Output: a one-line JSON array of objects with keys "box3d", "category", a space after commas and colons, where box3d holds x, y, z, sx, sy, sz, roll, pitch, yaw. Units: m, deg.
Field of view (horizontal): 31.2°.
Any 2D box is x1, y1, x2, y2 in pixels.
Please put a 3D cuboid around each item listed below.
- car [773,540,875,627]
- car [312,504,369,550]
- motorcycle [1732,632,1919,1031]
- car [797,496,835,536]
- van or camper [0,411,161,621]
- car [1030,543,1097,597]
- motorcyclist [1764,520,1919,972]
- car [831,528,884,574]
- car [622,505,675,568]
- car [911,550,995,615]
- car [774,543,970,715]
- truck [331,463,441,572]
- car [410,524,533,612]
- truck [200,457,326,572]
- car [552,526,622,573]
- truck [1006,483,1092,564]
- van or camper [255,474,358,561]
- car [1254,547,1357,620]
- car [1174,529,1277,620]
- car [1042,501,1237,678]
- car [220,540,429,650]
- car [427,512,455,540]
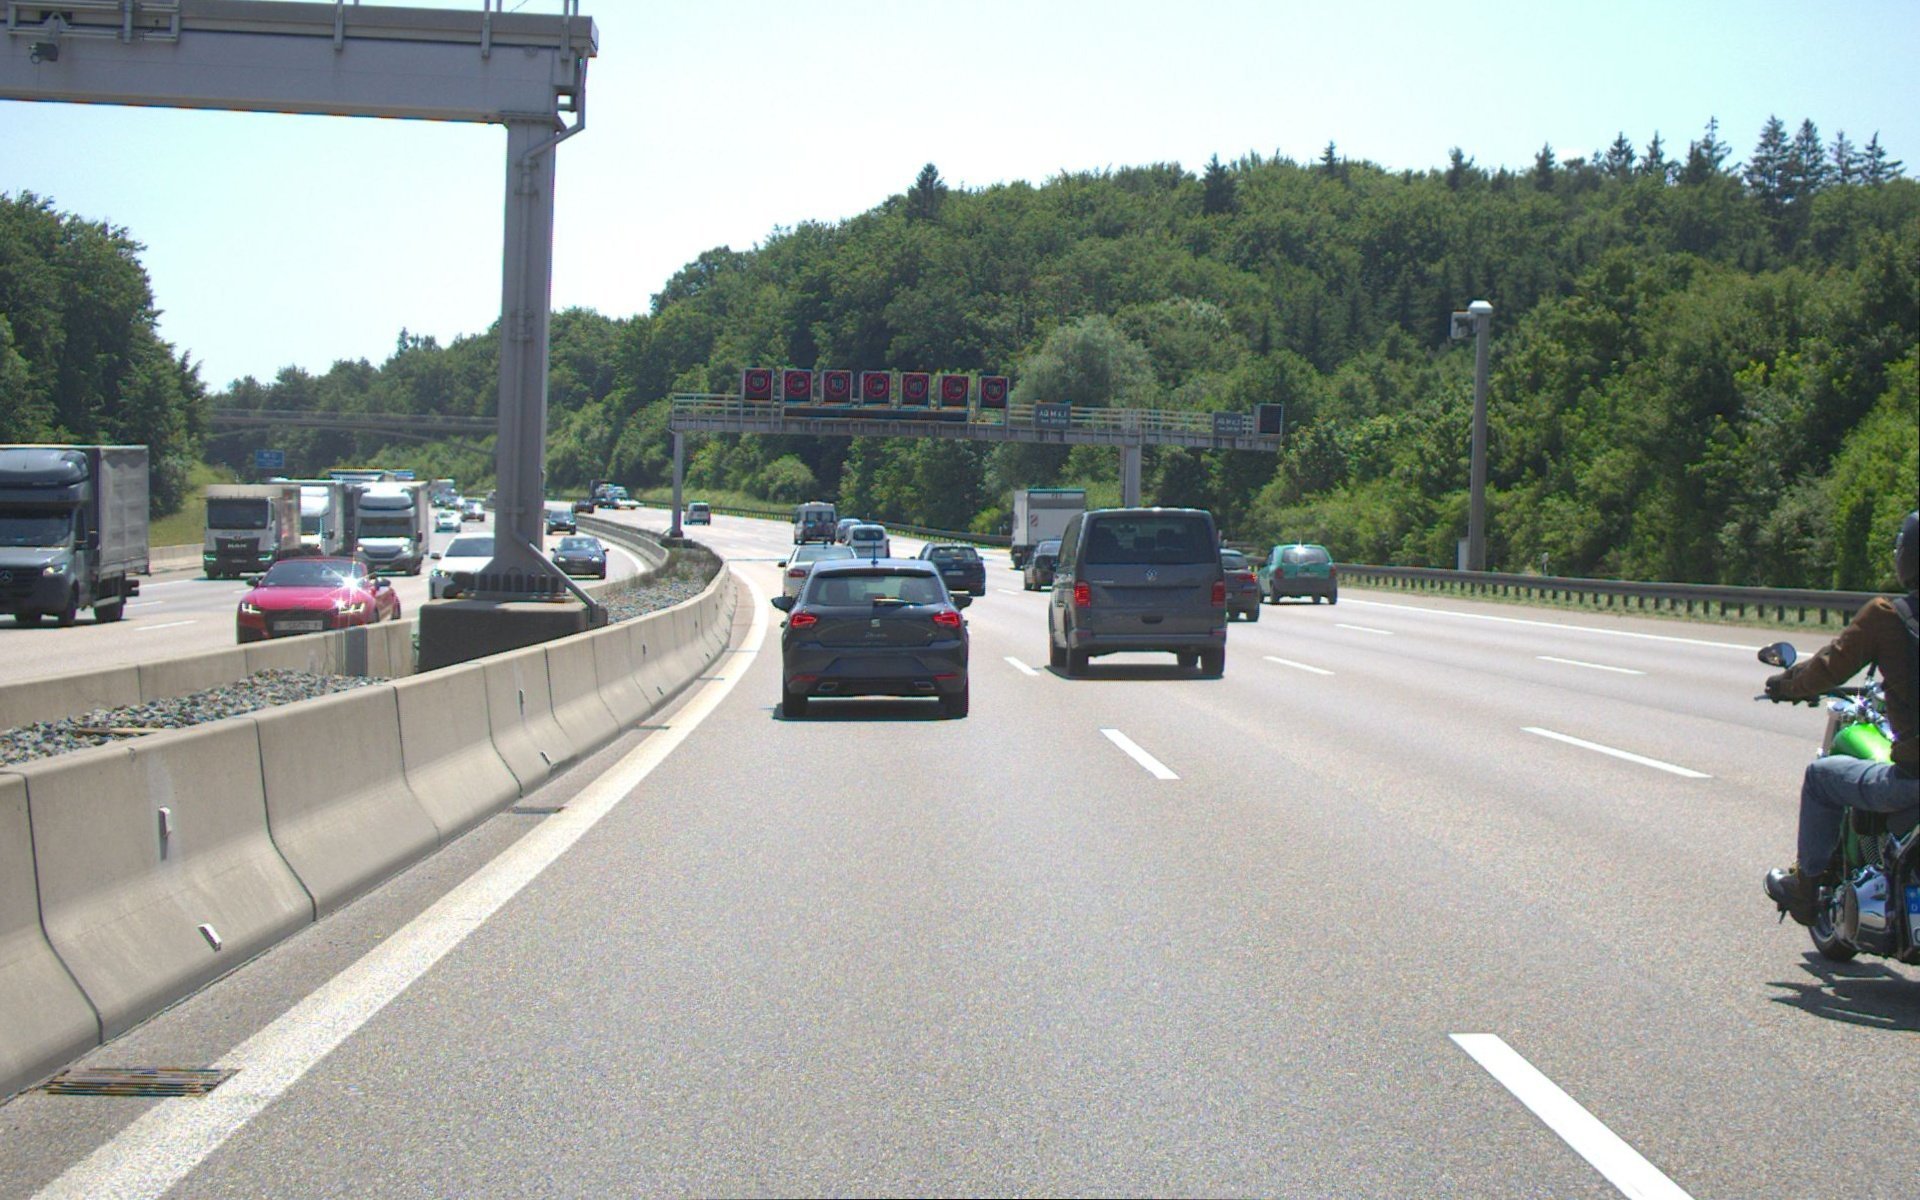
[{"box3d": [-3.031, -0.343, 77.349, 2.012, 1.839, 3.999, 0, -1, 2], "category": "car"}, {"box3d": [-28.711, -3.379, 159.405, 1.993, 2.007, 4.000, 1, 0, -2], "category": "car"}, {"box3d": [3.137, 0.718, 11.688, 0.535, 1.131, 2.437, 0, 1, 1], "category": "motorcycle"}, {"box3d": [-8.721, -5.096, 208.462, 2.265, 2.363, 4.702, 0, 1, -2], "category": "car"}, {"box3d": [-16.818, -1.526, 64.001, 2.430, 3.665, 7.759, 0, 1, -3], "category": "van or camper"}, {"box3d": [3.005, -0.888, 100.145, 1.665, 1.403, 4.904, 1, 2, -1], "category": "car"}, {"box3d": [3.184, 0.457, 11.323, 0.852, 1.422, 1.023, 0, 0, 1], "category": "motorcyclist"}, {"box3d": [-4.179, -1.986, 139.201, 2.103, 1.738, 4.688, 0, 2, -2], "category": "car"}, {"box3d": [-13.301, -2.703, 146.936, 1.993, 2.566, 4.169, 1, 0, -2], "category": "car"}, {"box3d": [-0.219, -0.481, 93.191, 1.993, 1.722, 4.150, 0, 1, -4], "category": "car"}, {"box3d": [-0.828, 0.226, 32.410, 1.708, 1.428, 4.001, 1, 2, -1], "category": "car"}, {"box3d": [-20.815, -2.956, 125.105, 2.931, 3.791, 9.345, 0, 1, -3], "category": "truck"}, {"box3d": [-9.903, -0.664, 69.959, 1.993, 1.722, 4.000, 0, 1, -1], "category": "car"}, {"box3d": [-24.089, -2.900, 119.223, 2.869, 3.684, 9.242, 1, 0, -3], "category": "truck"}, {"box3d": [-12.872, -1.757, 118.945, 1.993, 1.584, 4.844, 0, 1, -1], "category": "car"}, {"box3d": [3.581, -3.161, 140.206, 2.985, 3.155, 7.576, 0, 2, -2], "category": "truck"}, {"box3d": [-25.285, -3.140, 133.322, 2.764, 3.114, 8.095, 1, 0, -3], "category": "van or camper"}, {"box3d": [8.375, -0.412, 83.607, 1.993, 1.722, 4.000, 0, 0, -2], "category": "car"}, {"box3d": [5.220, -0.511, 67.902, 1.849, 1.722, 4.000, 0, 1, 2], "category": "car"}, {"box3d": [2.125, -0.161, 42.013, 1.962, 2.026, 5.084, 0, 1, -2], "category": "car"}, {"box3d": [-8.728, -0.113, 47.659, 2.048, 1.437, 5.221, 0, 1, -1], "category": "car"}, {"box3d": [-37.437, -5.338, 247.887, 1.993, 2.007, 4.001, 0, 1, -9], "category": "car"}]
